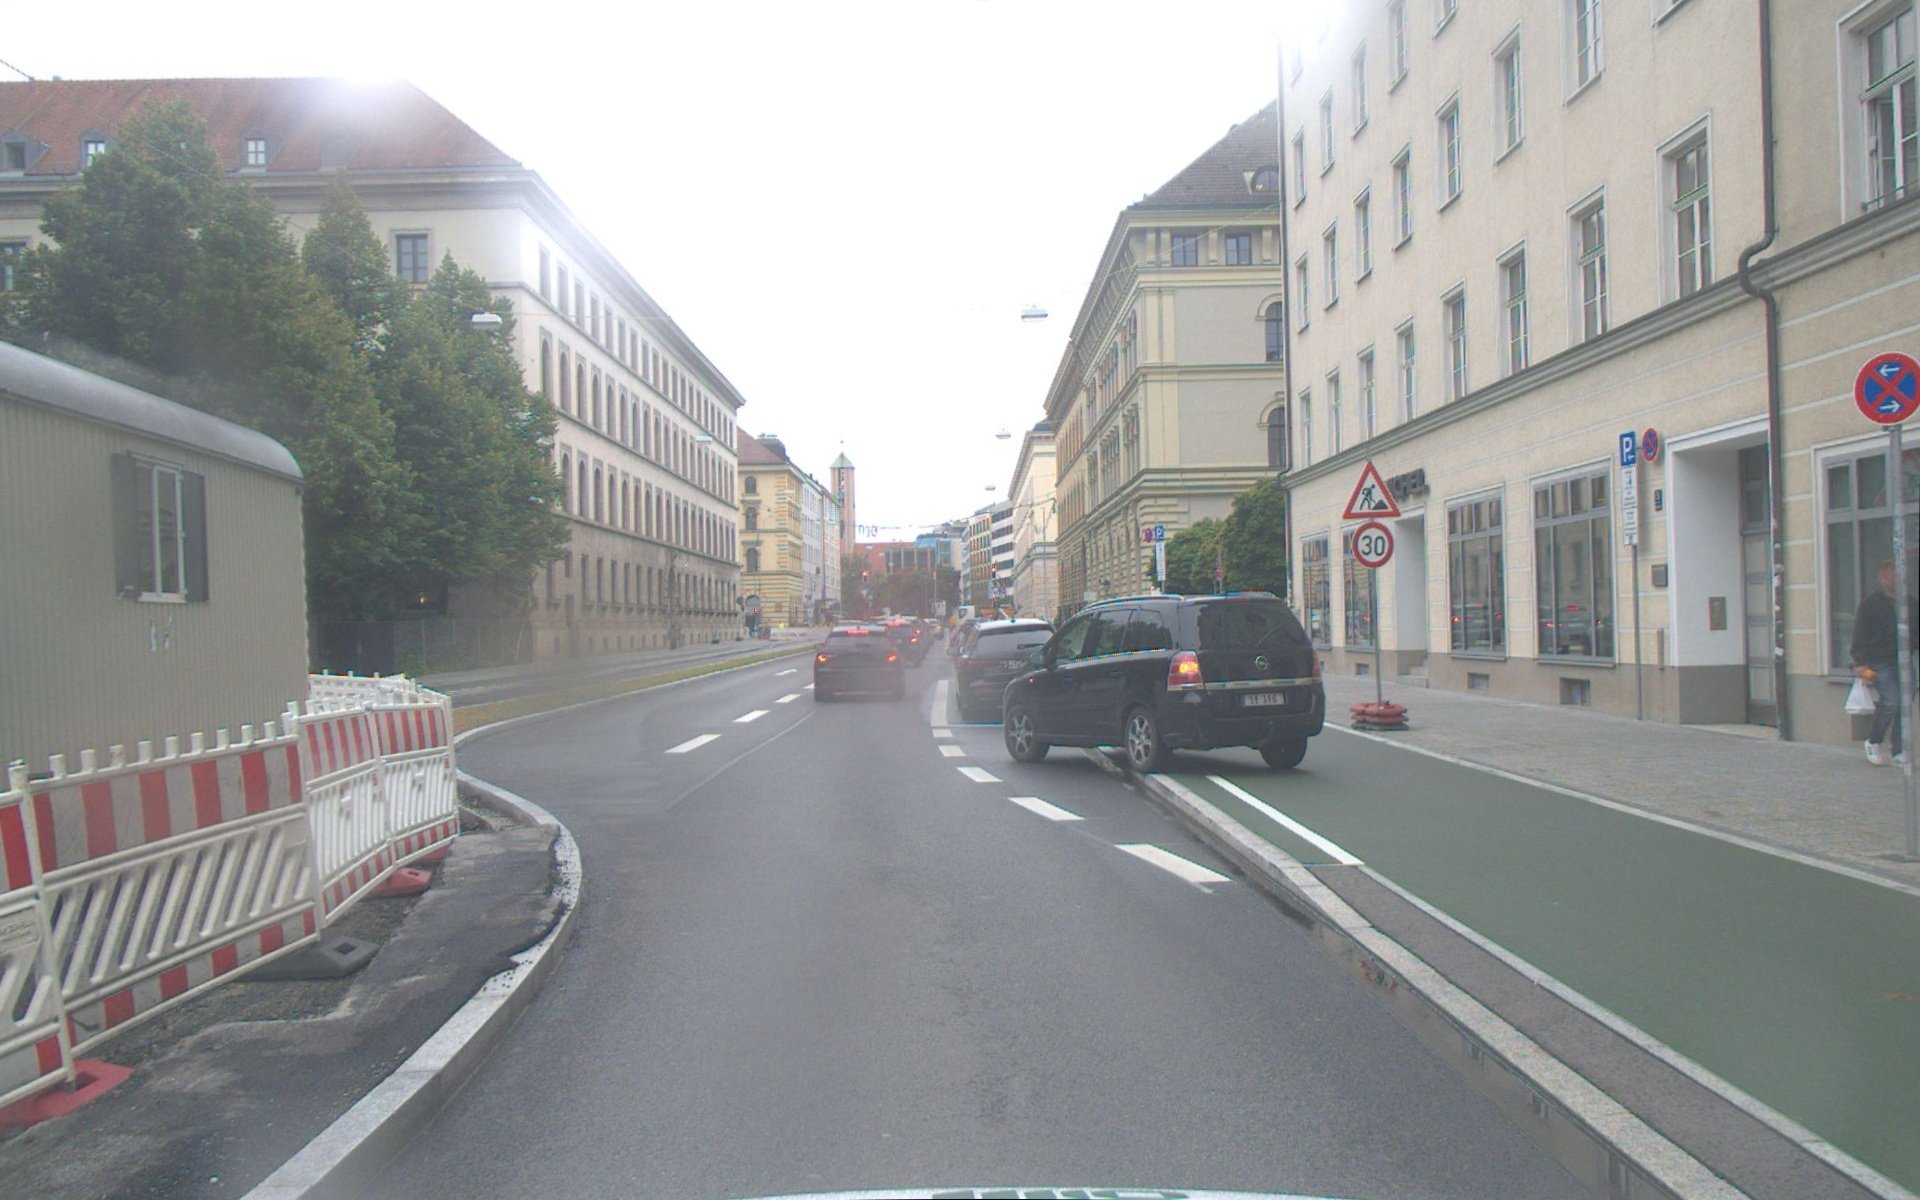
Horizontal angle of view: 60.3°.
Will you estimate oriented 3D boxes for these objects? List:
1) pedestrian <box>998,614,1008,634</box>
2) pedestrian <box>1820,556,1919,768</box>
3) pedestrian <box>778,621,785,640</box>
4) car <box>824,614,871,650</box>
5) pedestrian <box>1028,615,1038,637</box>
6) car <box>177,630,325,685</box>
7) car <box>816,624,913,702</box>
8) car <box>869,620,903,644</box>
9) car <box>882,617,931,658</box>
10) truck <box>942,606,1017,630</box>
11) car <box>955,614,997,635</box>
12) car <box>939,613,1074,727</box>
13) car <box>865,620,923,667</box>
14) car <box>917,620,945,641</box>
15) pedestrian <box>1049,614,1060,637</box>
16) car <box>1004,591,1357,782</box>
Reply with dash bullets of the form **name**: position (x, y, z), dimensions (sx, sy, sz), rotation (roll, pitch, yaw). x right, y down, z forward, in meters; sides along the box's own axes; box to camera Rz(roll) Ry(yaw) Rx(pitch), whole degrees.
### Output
- **pedestrian**: position (3.740, 2.081, 142.627), dimensions (0.736, 1.646, 0.713), rotation (-1, -1, 8)
- **pedestrian**: position (8.123, 0.524, 14.400), dimensions (0.777, 1.776, 0.833), rotation (-2, -1, 0)
- **pedestrian**: position (-17.981, 3.056, 166.657), dimensions (0.642, 1.836, 0.727), rotation (-1, -1, -1)
- **car**: position (-5.420, 1.535, 80.292), dimensions (1.953, 1.656, 4.000), rotation (-1, -1, 0)
- **pedestrian**: position (5.534, 1.966, 125.292), dimensions (0.695, 1.646, 0.754), rotation (-1, -1, -1)
- **car**: position (-23.952, 1.917, 55.993), dimensions (4.175, 1.678, 1.804), rotation (-2, -1, 0)
- **car**: position (-1.833, 1.202, 32.739), dimensions (1.694, 1.427, 3.999), rotation (0, -1, 0)
- **car**: position (-4.808, 2.092, 107.984), dimensions (1.953, 1.469, 4.000), rotation (-1, -1, 0)
- **car**: position (-1.977, 1.379, 61.779), dimensions (1.694, 1.486, 3.999), rotation (0, -1, 0)
- **truck**: position (1.890, 1.746, 160.129), dimensions (7.232, 2.292, 2.180), rotation (0, -1, 2)
- **car**: position (1.434, 2.137, 145.827), dimensions (1.956, 1.780, 3.994), rotation (-2, -1, 29)
- **car**: position (0.657, 1.047, 26.423), dimensions (1.773, 1.506, 4.460), rotation (-5, 0, -2)
- **car**: position (-2.081, 1.375, 53.023), dimensions (1.694, 1.427, 3.999), rotation (0, -1, 0)
- **car**: position (-2.078, 2.207, 120.111), dimensions (1.953, 1.469, 4.000), rotation (-1, -1, 0)
- **pedestrian**: position (6.891, 1.841, 120.628), dimensions (0.695, 1.646, 0.754), rotation (-1, -1, -1)
- **car**: position (2.030, 0.764, 16.446), dimensions (1.740, 1.644, 4.002), rotation (0, -1, -22)
